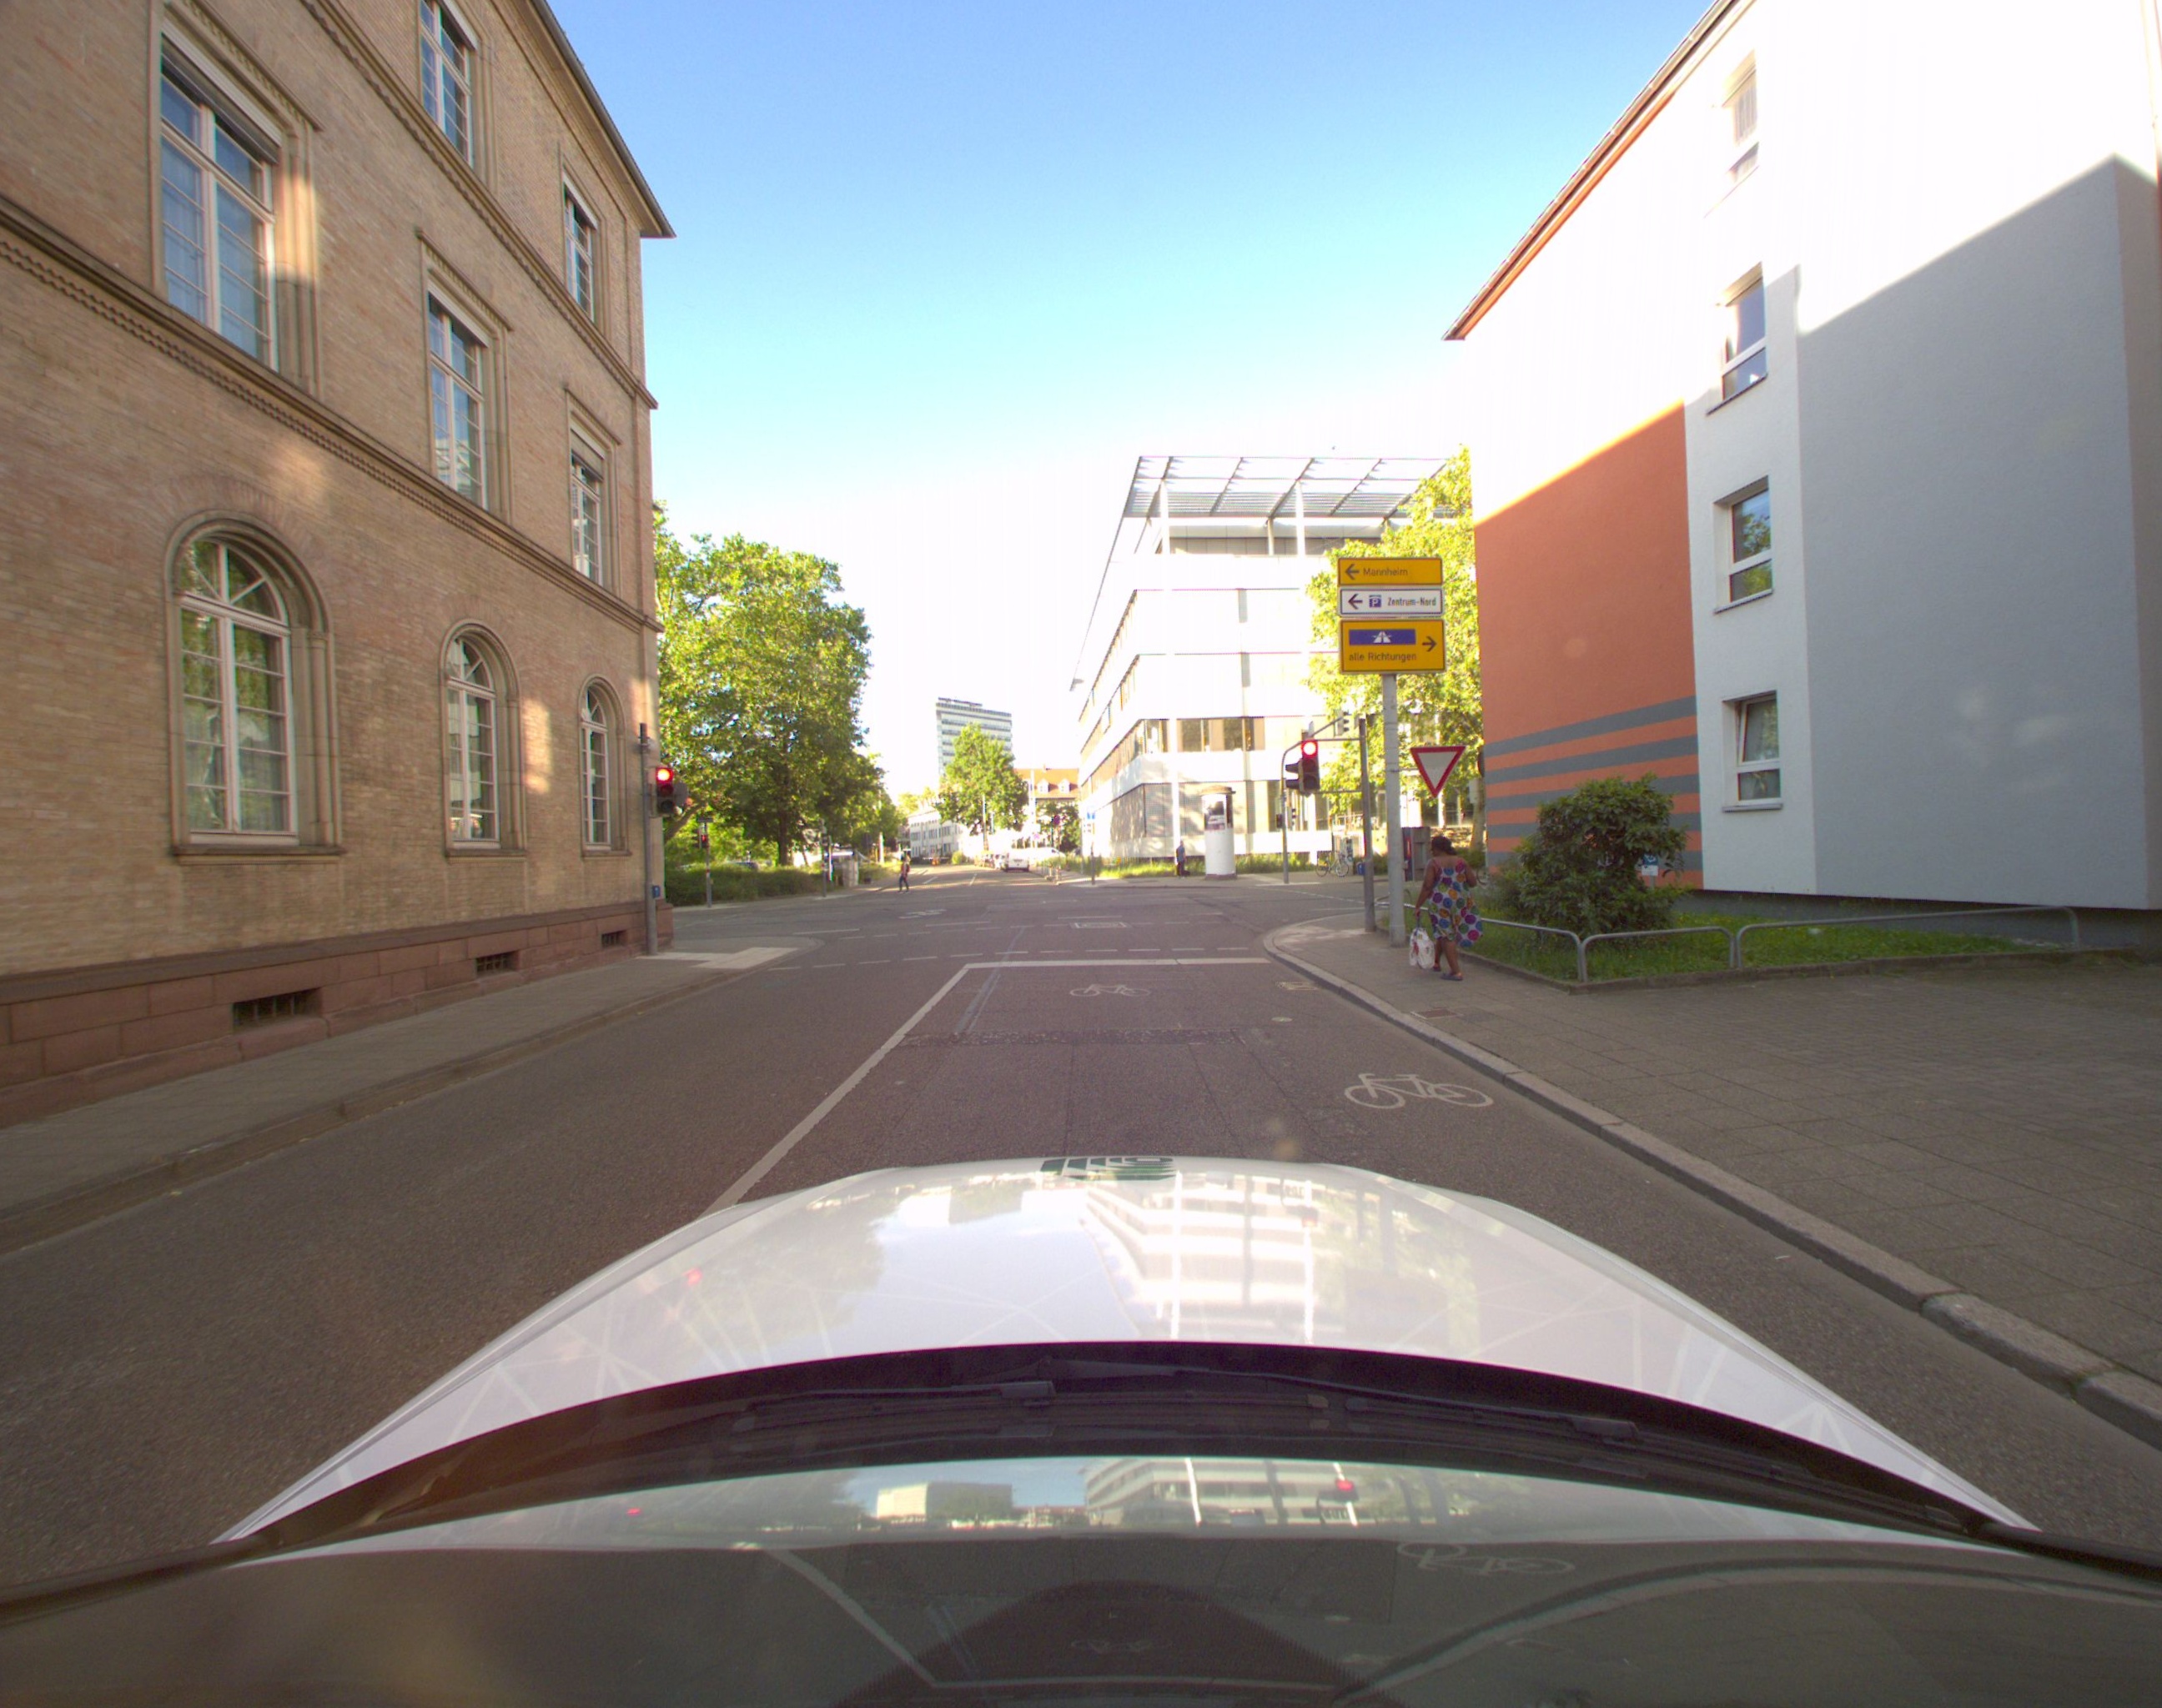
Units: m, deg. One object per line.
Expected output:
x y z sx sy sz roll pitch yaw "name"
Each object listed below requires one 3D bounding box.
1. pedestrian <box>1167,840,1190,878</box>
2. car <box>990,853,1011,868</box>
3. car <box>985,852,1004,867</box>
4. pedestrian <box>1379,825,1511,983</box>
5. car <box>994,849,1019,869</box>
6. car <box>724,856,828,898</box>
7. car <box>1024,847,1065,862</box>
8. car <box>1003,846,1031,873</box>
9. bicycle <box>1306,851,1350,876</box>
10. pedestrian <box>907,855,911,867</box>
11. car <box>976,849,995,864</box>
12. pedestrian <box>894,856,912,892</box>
4.667 0.240 38.894 0.658 1.736 0.802 -2 0 -43 "pedestrian"
-8.097 0.608 81.704 1.705 1.424 4.221 -2 0 -11 "car"
-9.193 0.546 86.234 1.704 1.464 4.225 -2 0 -9 "car"
3.951 0.524 8.906 0.952 1.573 0.749 -5 0 -4 "pedestrian"
-7.080 0.474 76.827 1.947 1.795 4.223 -2 0 -11 "car"
-14.398 1.063 38.629 4.219 1.777 1.901 -2 0 -7 "car"
-4.626 0.073 103.127 4.889 1.872 1.990 -1 -1 -15 "car"
-5.125 0.406 64.925 2.065 1.963 4.228 -2 0 -6 "car"
10.904 0.433 35.985 0.467 1.049 1.893 -2 0 -40 "bicycle"
-22.256 0.950 105.531 0.380 1.534 0.444 -2 0 -10 "pedestrian"
-11.309 0.296 96.115 2.100 1.658 4.461 -2 0 -9 "car"
-7.929 0.886 36.333 0.712 1.599 0.615 -2 0 -9 "pedestrian"
